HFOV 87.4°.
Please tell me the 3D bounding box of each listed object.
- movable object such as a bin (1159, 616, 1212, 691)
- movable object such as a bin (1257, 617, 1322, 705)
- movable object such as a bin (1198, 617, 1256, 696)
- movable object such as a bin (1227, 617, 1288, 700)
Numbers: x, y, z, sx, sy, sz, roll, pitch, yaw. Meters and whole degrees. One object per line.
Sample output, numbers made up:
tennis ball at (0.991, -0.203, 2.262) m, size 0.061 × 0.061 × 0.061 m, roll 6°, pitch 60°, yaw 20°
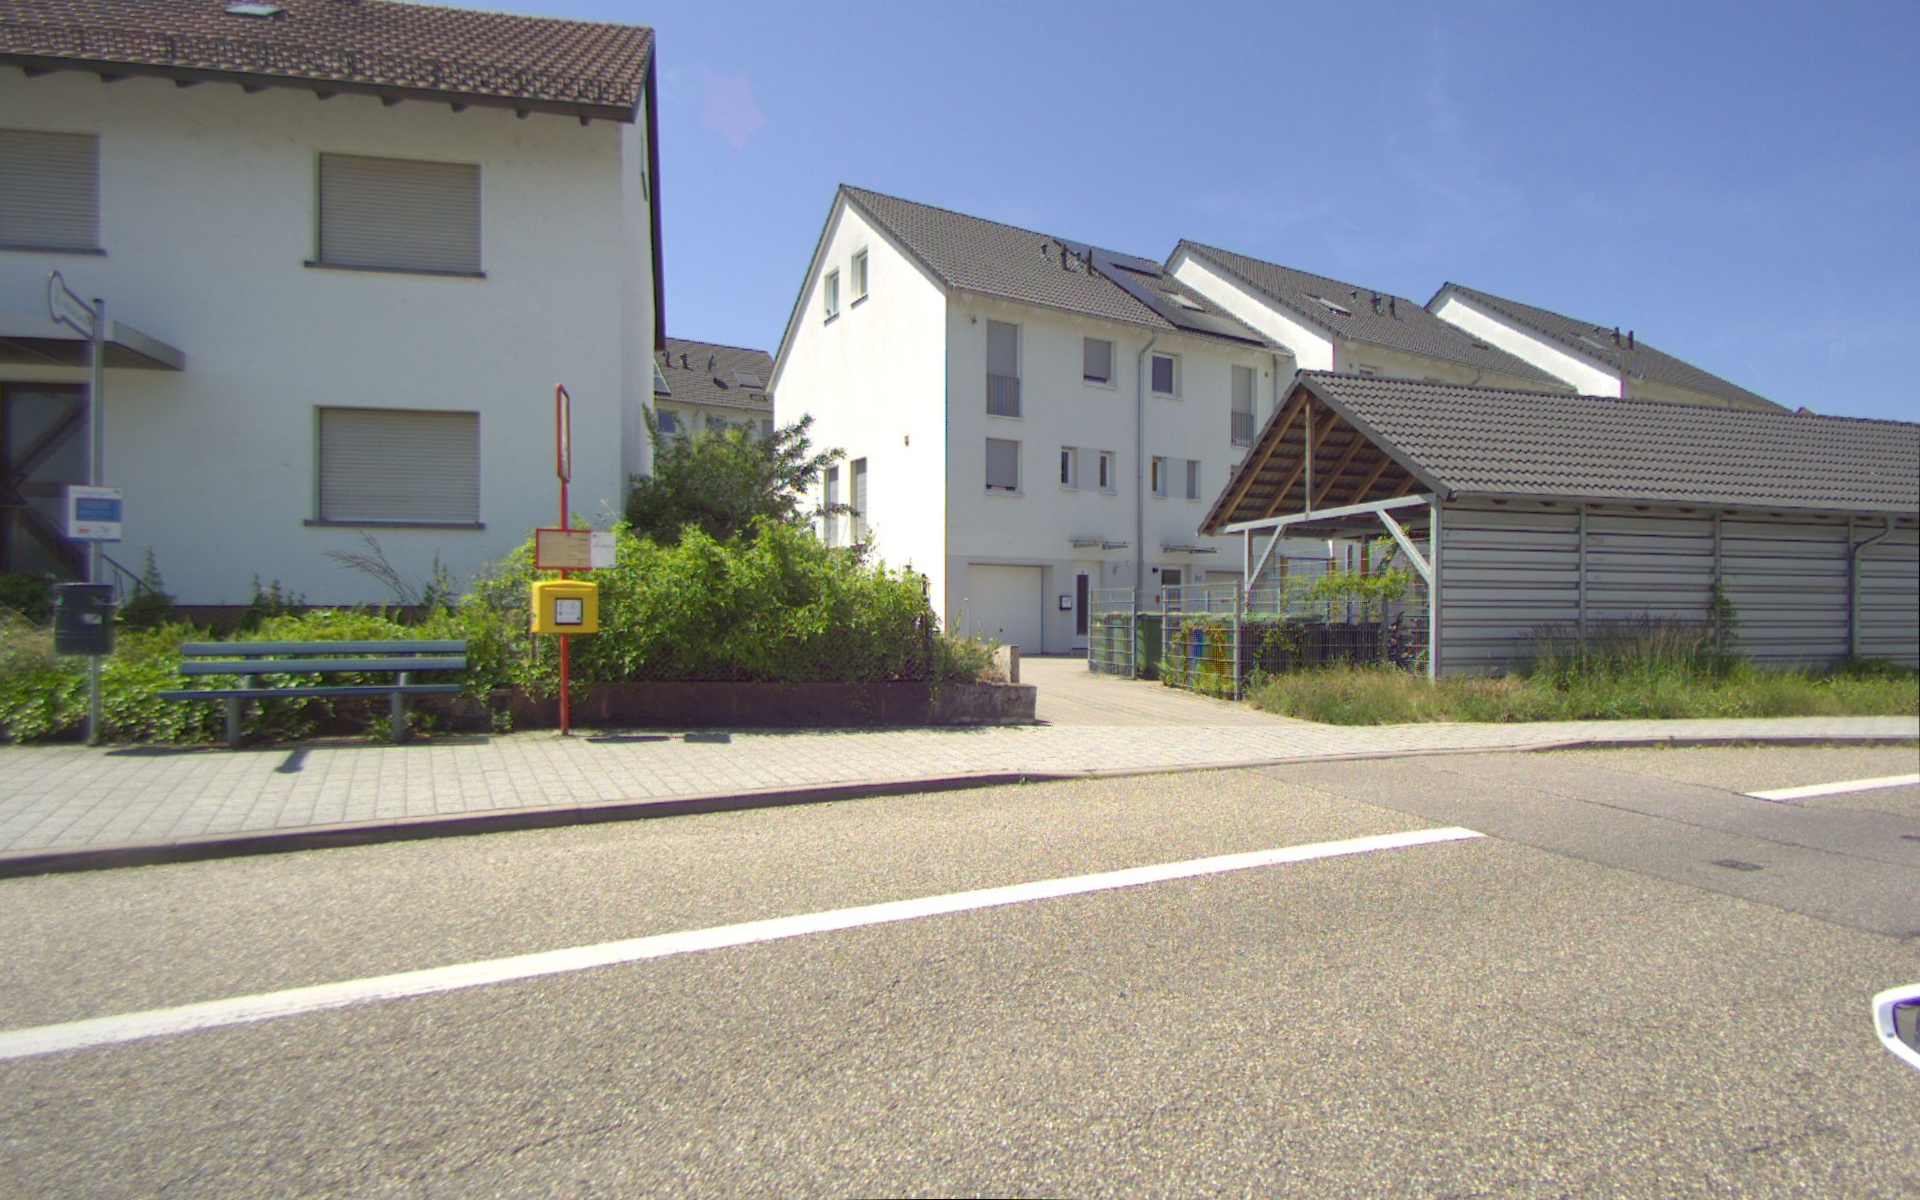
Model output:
movable object such as a bin at (4.003, 0.945, 17.839) m, size 0.683 × 1.296 × 0.639 m, roll 1°, pitch 0°, yaw -18°
movable object such as a bin at (5.020, 0.916, 15.312) m, size 0.683 × 1.296 × 0.639 m, roll 1°, pitch 0°, yaw -18°
movable object such as a bin at (4.474, 0.936, 16.867) m, size 0.683 × 1.296 × 0.639 m, roll 1°, pitch 0°, yaw -18°
movable object such as a bin at (4.763, 0.927, 16.114) m, size 0.683 × 1.296 × 0.639 m, roll 1°, pitch 0°, yaw -18°
